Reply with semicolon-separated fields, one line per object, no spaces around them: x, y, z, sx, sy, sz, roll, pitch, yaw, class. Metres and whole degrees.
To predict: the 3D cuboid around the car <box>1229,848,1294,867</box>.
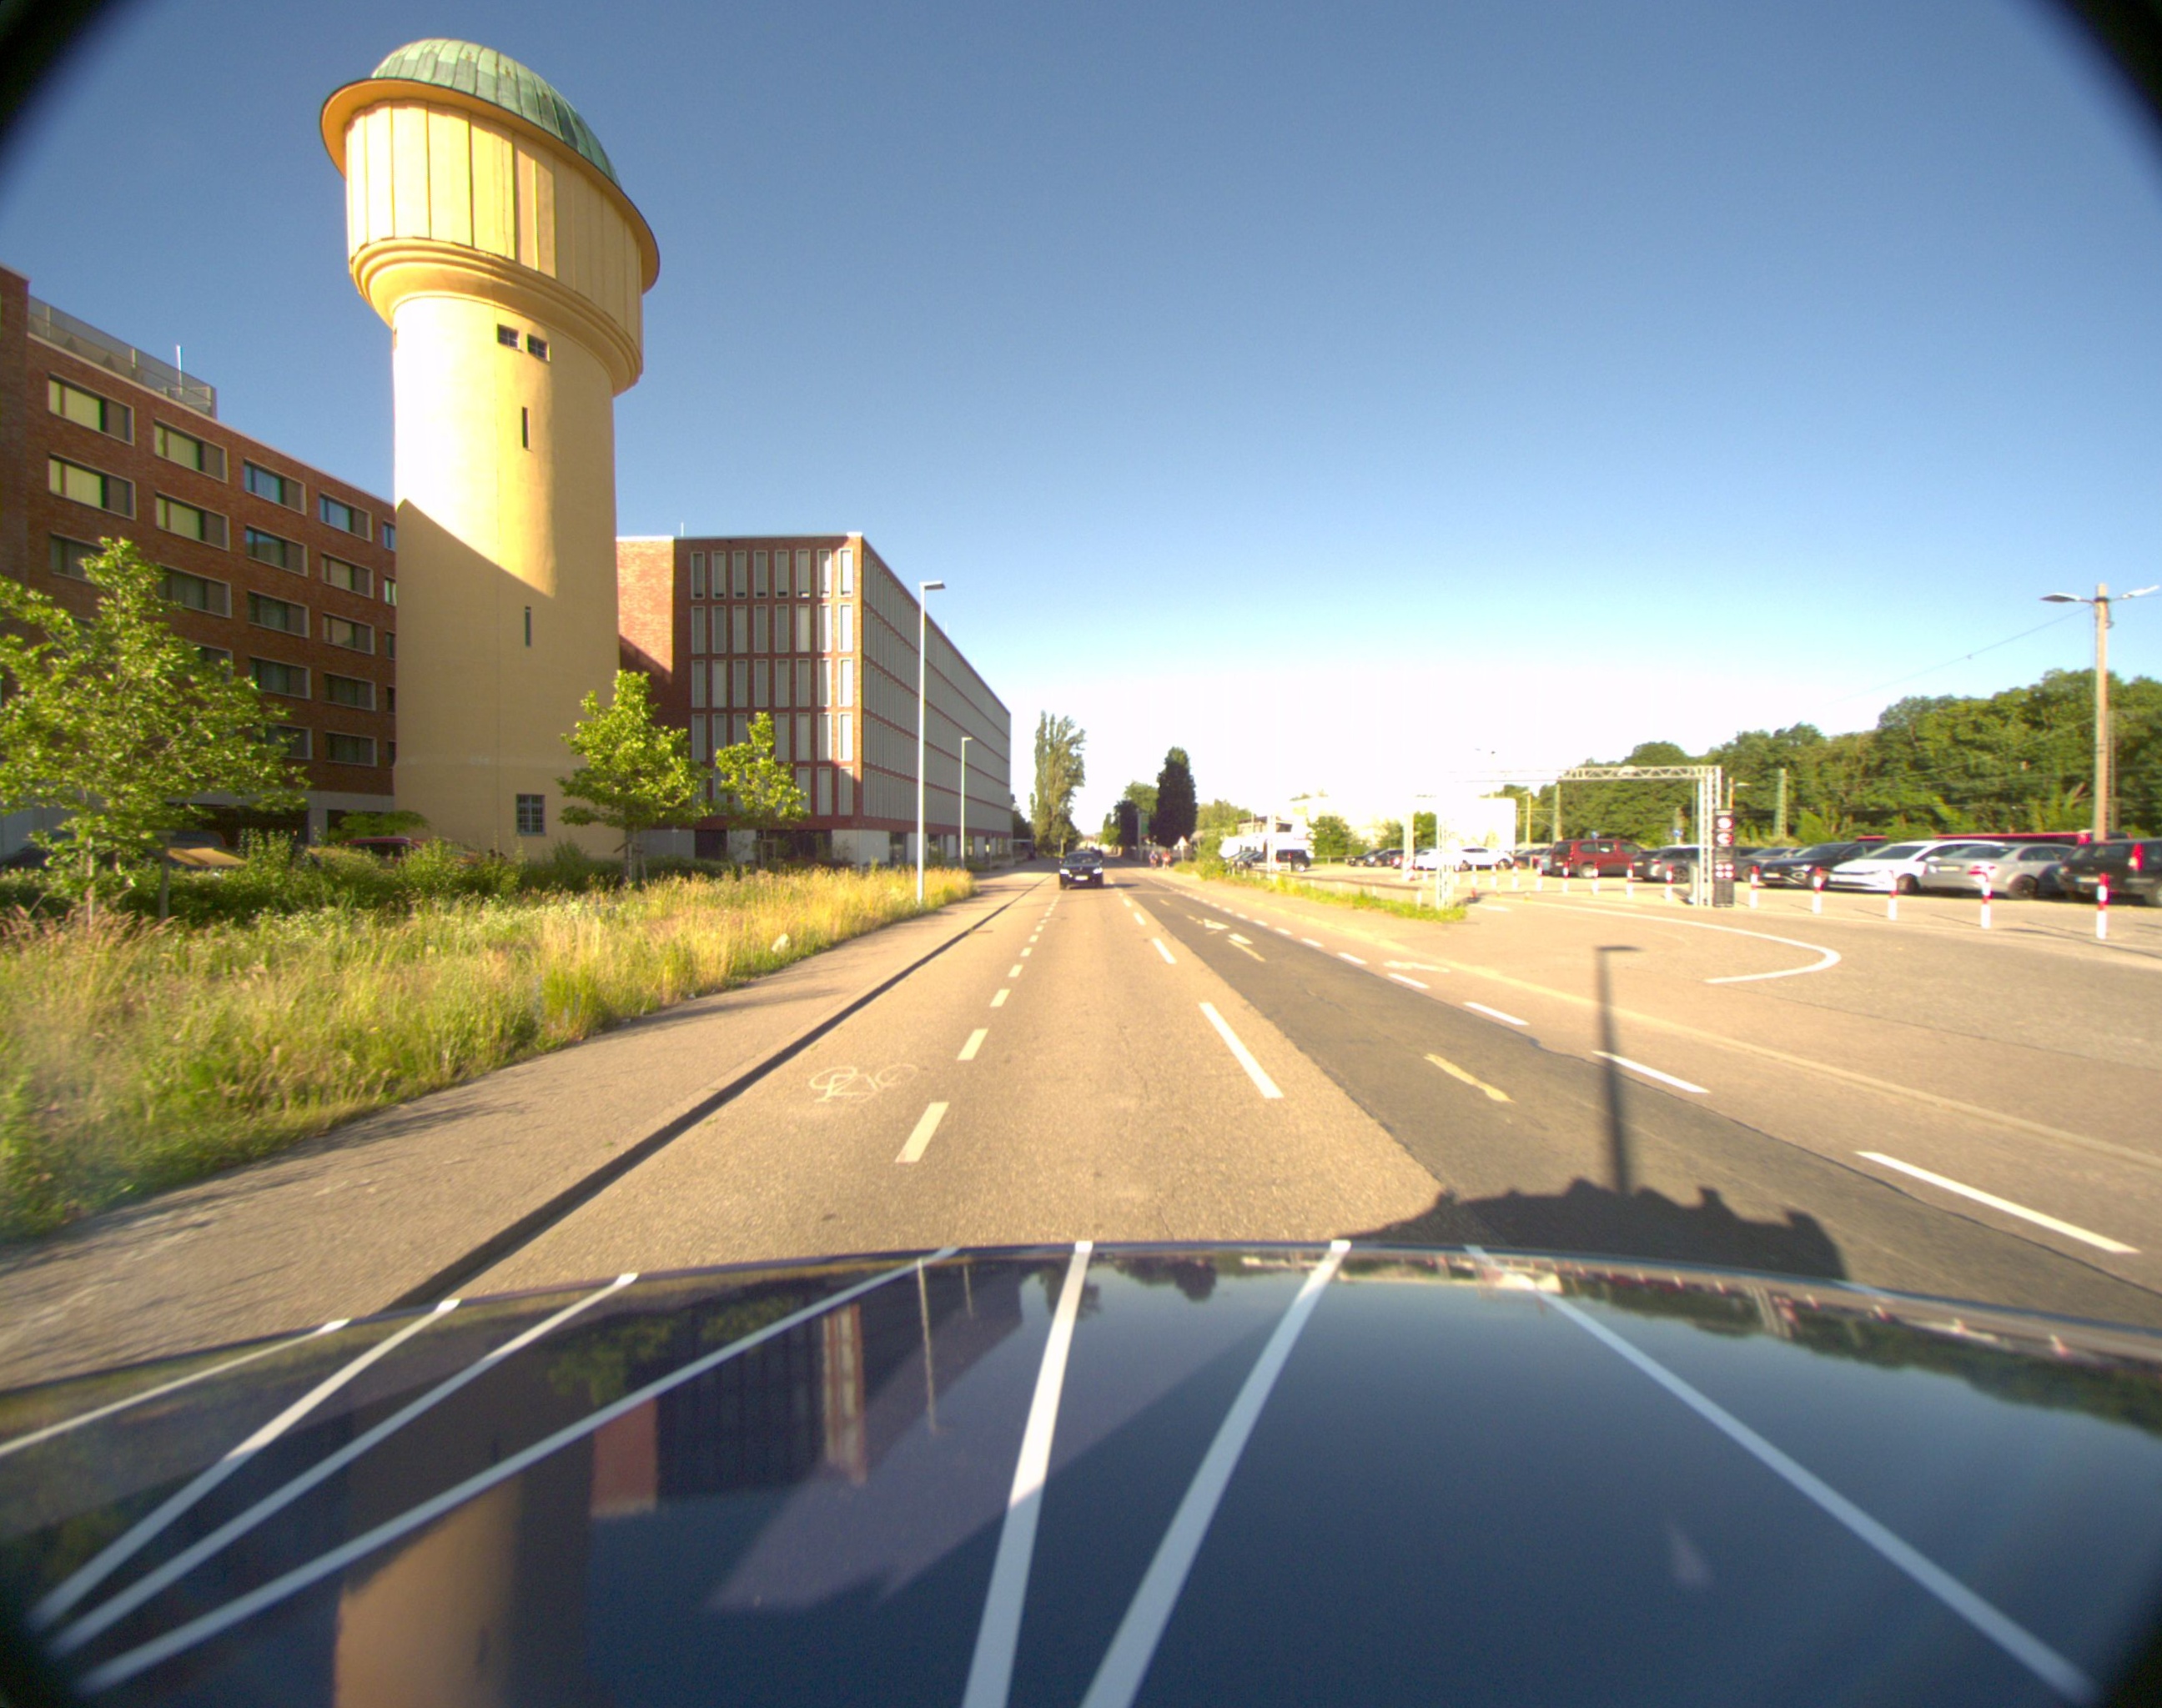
13.638;0.252;57.629;4.439;1.453;2.048;0;1;2;car

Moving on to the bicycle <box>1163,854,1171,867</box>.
7.659;0.599;67.955;0.471;1.142;1.869;-2;1;0;bicycle

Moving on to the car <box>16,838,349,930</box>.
-16.606;0.529;14.184;4.193;1.571;1.852;-1;1;4;car

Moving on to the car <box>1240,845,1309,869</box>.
13.884;0.201;54.651;4.439;1.660;2.048;0;1;2;car

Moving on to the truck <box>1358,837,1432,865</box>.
31.822;-0.340;77.060;6.512;2.791;2.315;0;1;-1;truck

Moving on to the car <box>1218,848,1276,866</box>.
13.840;0.265;63.458;4.439;1.453;2.048;0;1;2;car

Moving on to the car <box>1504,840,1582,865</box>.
30.236;-0.090;49.828;3.998;1.540;1.913;-1;1;-2;car

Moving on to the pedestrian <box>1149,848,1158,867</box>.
6.597;0.307;68.742;0.722;1.711;1.057;0;1;0;pedestrian

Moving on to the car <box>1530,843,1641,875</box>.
25.427;0.243;38.420;4.378;1.536;1.857;-1;1;1;car

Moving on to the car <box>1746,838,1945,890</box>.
24.912;0.304;24.883;4.587;1.576;1.857;-1;1;1;car

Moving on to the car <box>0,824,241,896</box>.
-28.935;0.143;22.816;1.976;1.924;4.793;-1;0;2;car

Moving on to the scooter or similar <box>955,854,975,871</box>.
-8.443;0.634;55.225;1.343;1.238;0.424;0;1;5;scooter or similar

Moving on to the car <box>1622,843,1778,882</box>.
24.753;0.333;30.521;4.586;1.472;1.991;-1;0;3;car

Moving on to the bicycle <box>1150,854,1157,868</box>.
6.571;0.611;68.711;0.447;1.142;2.200;-2;1;0;bicycle

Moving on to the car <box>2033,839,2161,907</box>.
25.140;0.385;17.380;4.332;1.454;1.878;-1;1;1;car

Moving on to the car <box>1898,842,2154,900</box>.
24.631;0.431;19.938;4.332;1.385;1.878;-1;0;1;car

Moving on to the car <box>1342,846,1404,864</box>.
24.482;0.071;63.808;4.415;1.457;2.047;0;1;-3;car

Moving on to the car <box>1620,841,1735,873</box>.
30.231;0.160;38.599;4.378;1.536;1.857;-1;1;1;car

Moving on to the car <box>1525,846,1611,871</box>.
30.405;0.250;47.547;4.172;1.521;1.966;0;1;-2;car

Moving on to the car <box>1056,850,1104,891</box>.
0.004;0.723;35.261;1.998;1.609;3.999;-3;1;1;car

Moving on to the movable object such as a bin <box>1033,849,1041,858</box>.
-6.218;-0.087;107.736;1.131;1.328;1.345;0;1;0;movable object such as a bin

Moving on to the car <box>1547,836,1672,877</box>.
24.787;0.108;35.744;4.587;1.795;1.857;-1;1;1;car

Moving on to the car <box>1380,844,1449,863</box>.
24.486;-0.041;55.849;4.172;1.389;2.047;0;1;-3;car

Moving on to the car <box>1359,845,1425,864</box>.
24.970;0.033;61.072;4.415;1.457;2.047;0;1;-3;car

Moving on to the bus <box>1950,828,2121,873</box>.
52.816;-0.217;42.283;2.545;2.335;5.589;0;1;2;bus

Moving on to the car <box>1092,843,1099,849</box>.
4.036;-2.367;217.214;1.745;1.517;4.110;3;1;0;car

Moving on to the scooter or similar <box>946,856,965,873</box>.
-8.609;0.720;52.160;1.245;1.188;0.340;0;1;5;scooter or similar

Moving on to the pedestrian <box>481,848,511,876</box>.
-24.641;0.317;32.000;0.755;1.129;0.818;2;2;36;pedestrian

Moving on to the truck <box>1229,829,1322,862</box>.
22.612;-1.044;88.471;10.124;3.594;2.775;-1;2;-1;truck

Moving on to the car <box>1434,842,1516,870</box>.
24.794;0.113;47.870;4.172;1.652;1.966;0;1;-2;car

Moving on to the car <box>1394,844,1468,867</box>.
24.282;0.107;52.811;4.172;1.569;2.047;0;1;-3;car

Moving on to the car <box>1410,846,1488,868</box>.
24.353;0.172;50.368;4.172;1.389;2.047;0;1;-3;car

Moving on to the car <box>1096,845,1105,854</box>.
3.483;-0.768;136.685;1.658;1.495;3.999;1;1;1;car

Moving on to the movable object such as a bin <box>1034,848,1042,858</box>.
-6.210;-0.131;109.338;1.131;1.364;1.345;0;1;0;movable object such as a bin

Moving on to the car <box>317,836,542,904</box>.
-16.425;0.387;19.298;4.193;1.571;1.852;-1;1;4;car

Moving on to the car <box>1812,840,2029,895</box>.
24.819;0.384;22.598;4.332;1.514;1.878;-1;1;1;car

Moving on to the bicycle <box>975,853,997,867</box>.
-8.392;0.539;67.071;1.937;1.163;0.375;1;1;-6;bicycle

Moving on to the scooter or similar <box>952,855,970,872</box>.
-8.488;0.676;53.772;1.245;1.149;0.366;0;1;5;scooter or similar

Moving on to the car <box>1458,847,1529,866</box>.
30.287;0.159;55.854;4.172;1.389;2.047;0;1;-3;car

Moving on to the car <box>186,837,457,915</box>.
-16.507;0.460;16.650;4.193;1.571;1.852;-1;1;4;car

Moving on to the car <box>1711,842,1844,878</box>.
29.854;0.244;32.651;3.997;1.457;1.894;-1;1;-1;car

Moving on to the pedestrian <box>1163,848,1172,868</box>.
7.730;0.354;67.928;0.722;1.711;1.057;0;1;0;pedestrian
